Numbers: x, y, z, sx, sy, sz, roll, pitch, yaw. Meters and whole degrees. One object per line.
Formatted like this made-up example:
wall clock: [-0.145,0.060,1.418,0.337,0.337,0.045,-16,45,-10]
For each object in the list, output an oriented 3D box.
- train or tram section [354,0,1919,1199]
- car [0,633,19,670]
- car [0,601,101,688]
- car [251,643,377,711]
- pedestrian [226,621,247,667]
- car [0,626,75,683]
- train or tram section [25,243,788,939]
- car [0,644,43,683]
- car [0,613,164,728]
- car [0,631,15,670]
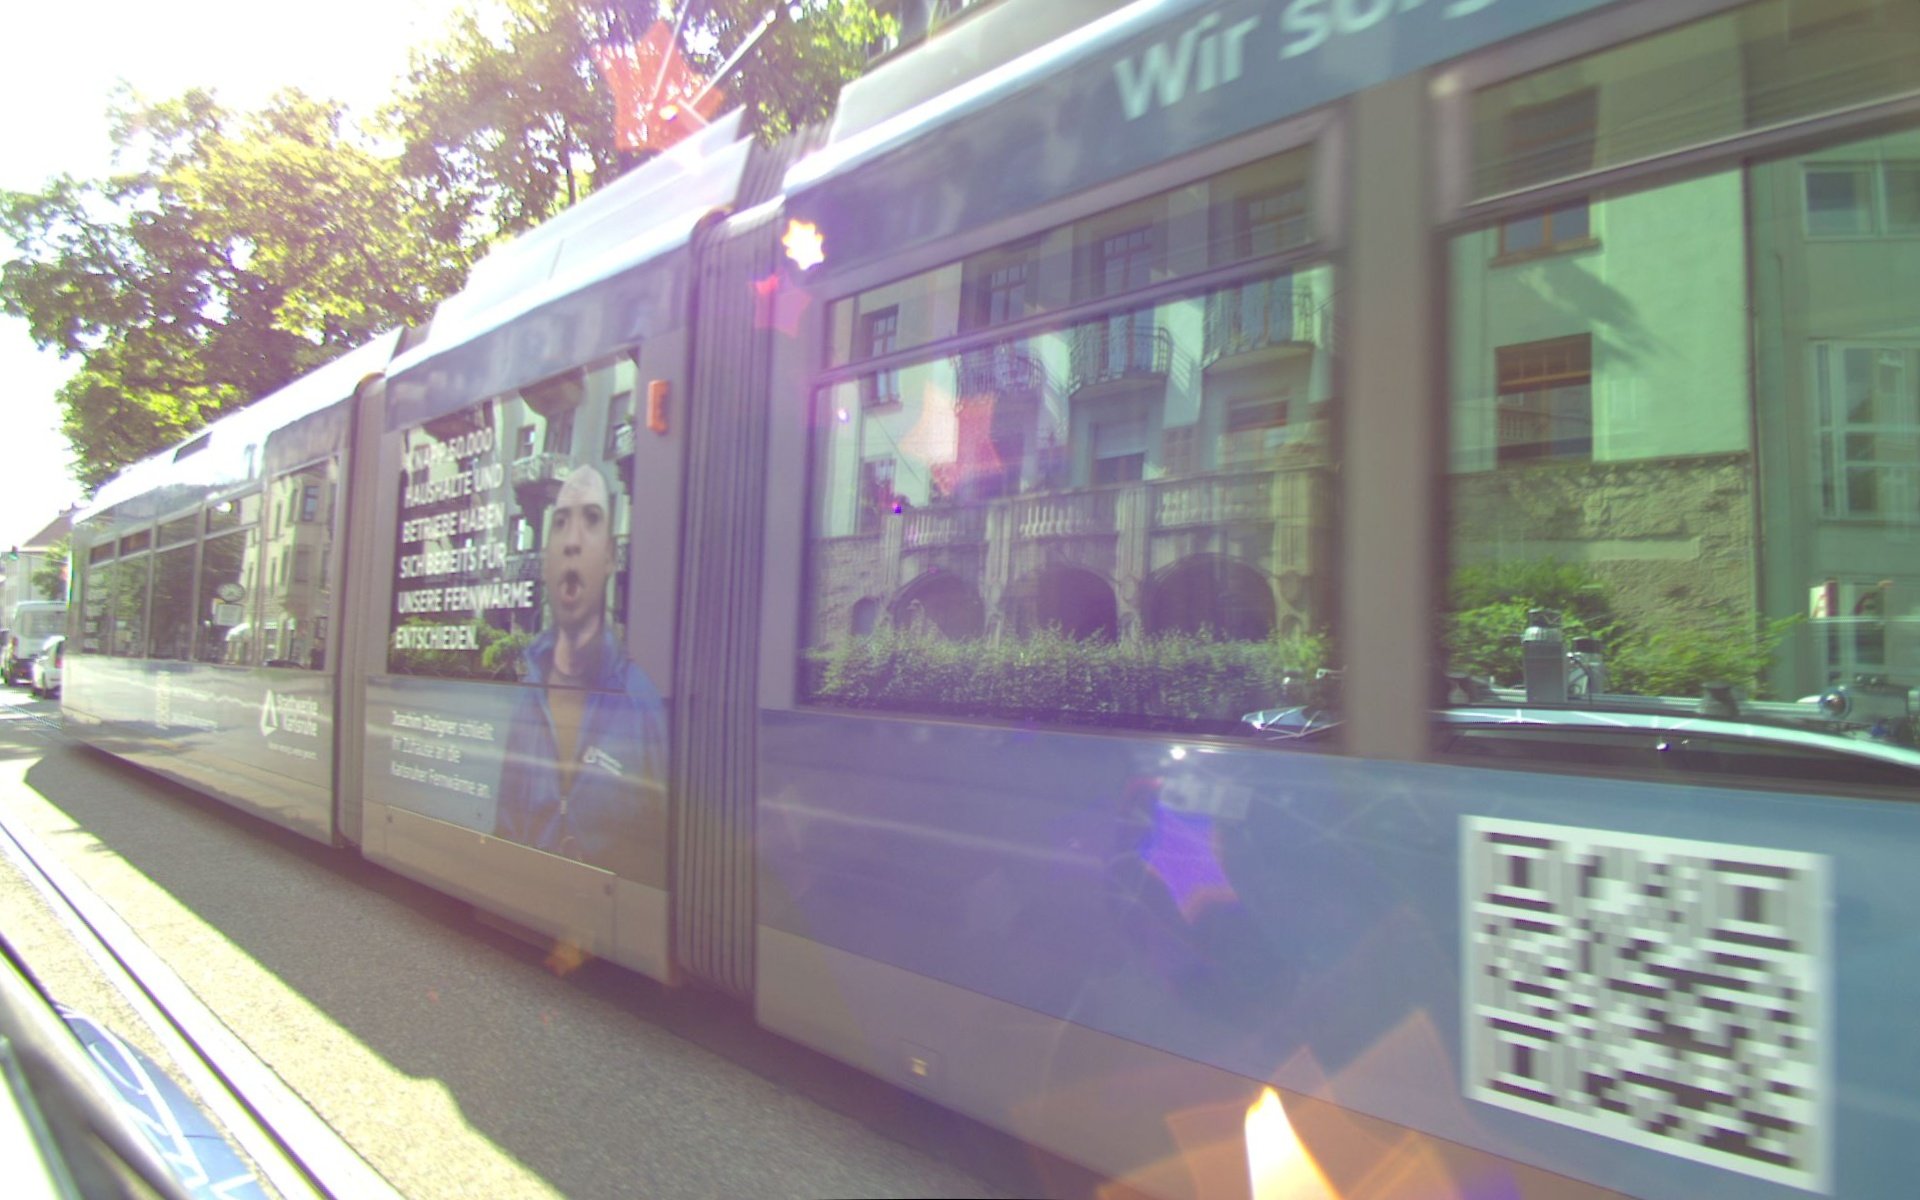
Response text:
train or tram section: [2.192,-0.227,2.205,11.469,3.415,2.624,-1,-4,42]
car: [-52.661,2.726,54.886,5.123,1.932,1.906,-2,-6,43]
car: [-29.408,1.431,32.235,6.361,2.527,2.291,-3,-3,42]
car: [-16.262,1.879,25.384,4.204,1.483,1.609,-3,-1,42]
pedestrian: [-32.172,1.947,44.994,0.477,2.029,0.808,-1,0,-16]
car: [-34.756,2.033,37.796,5.179,1.978,1.964,-3,-5,43]
train or tram section: [-6.677,0.104,10.128,12.311,3.463,2.624,-1,-4,42]
car: [-44.117,2.916,47.007,4.480,1.491,1.675,2,-3,41]
car: [-22.048,1.650,25.176,6.358,2.527,2.292,-2,-3,40]
car: [-58.694,3.040,61.171,5.089,2.010,1.972,3,2,43]
